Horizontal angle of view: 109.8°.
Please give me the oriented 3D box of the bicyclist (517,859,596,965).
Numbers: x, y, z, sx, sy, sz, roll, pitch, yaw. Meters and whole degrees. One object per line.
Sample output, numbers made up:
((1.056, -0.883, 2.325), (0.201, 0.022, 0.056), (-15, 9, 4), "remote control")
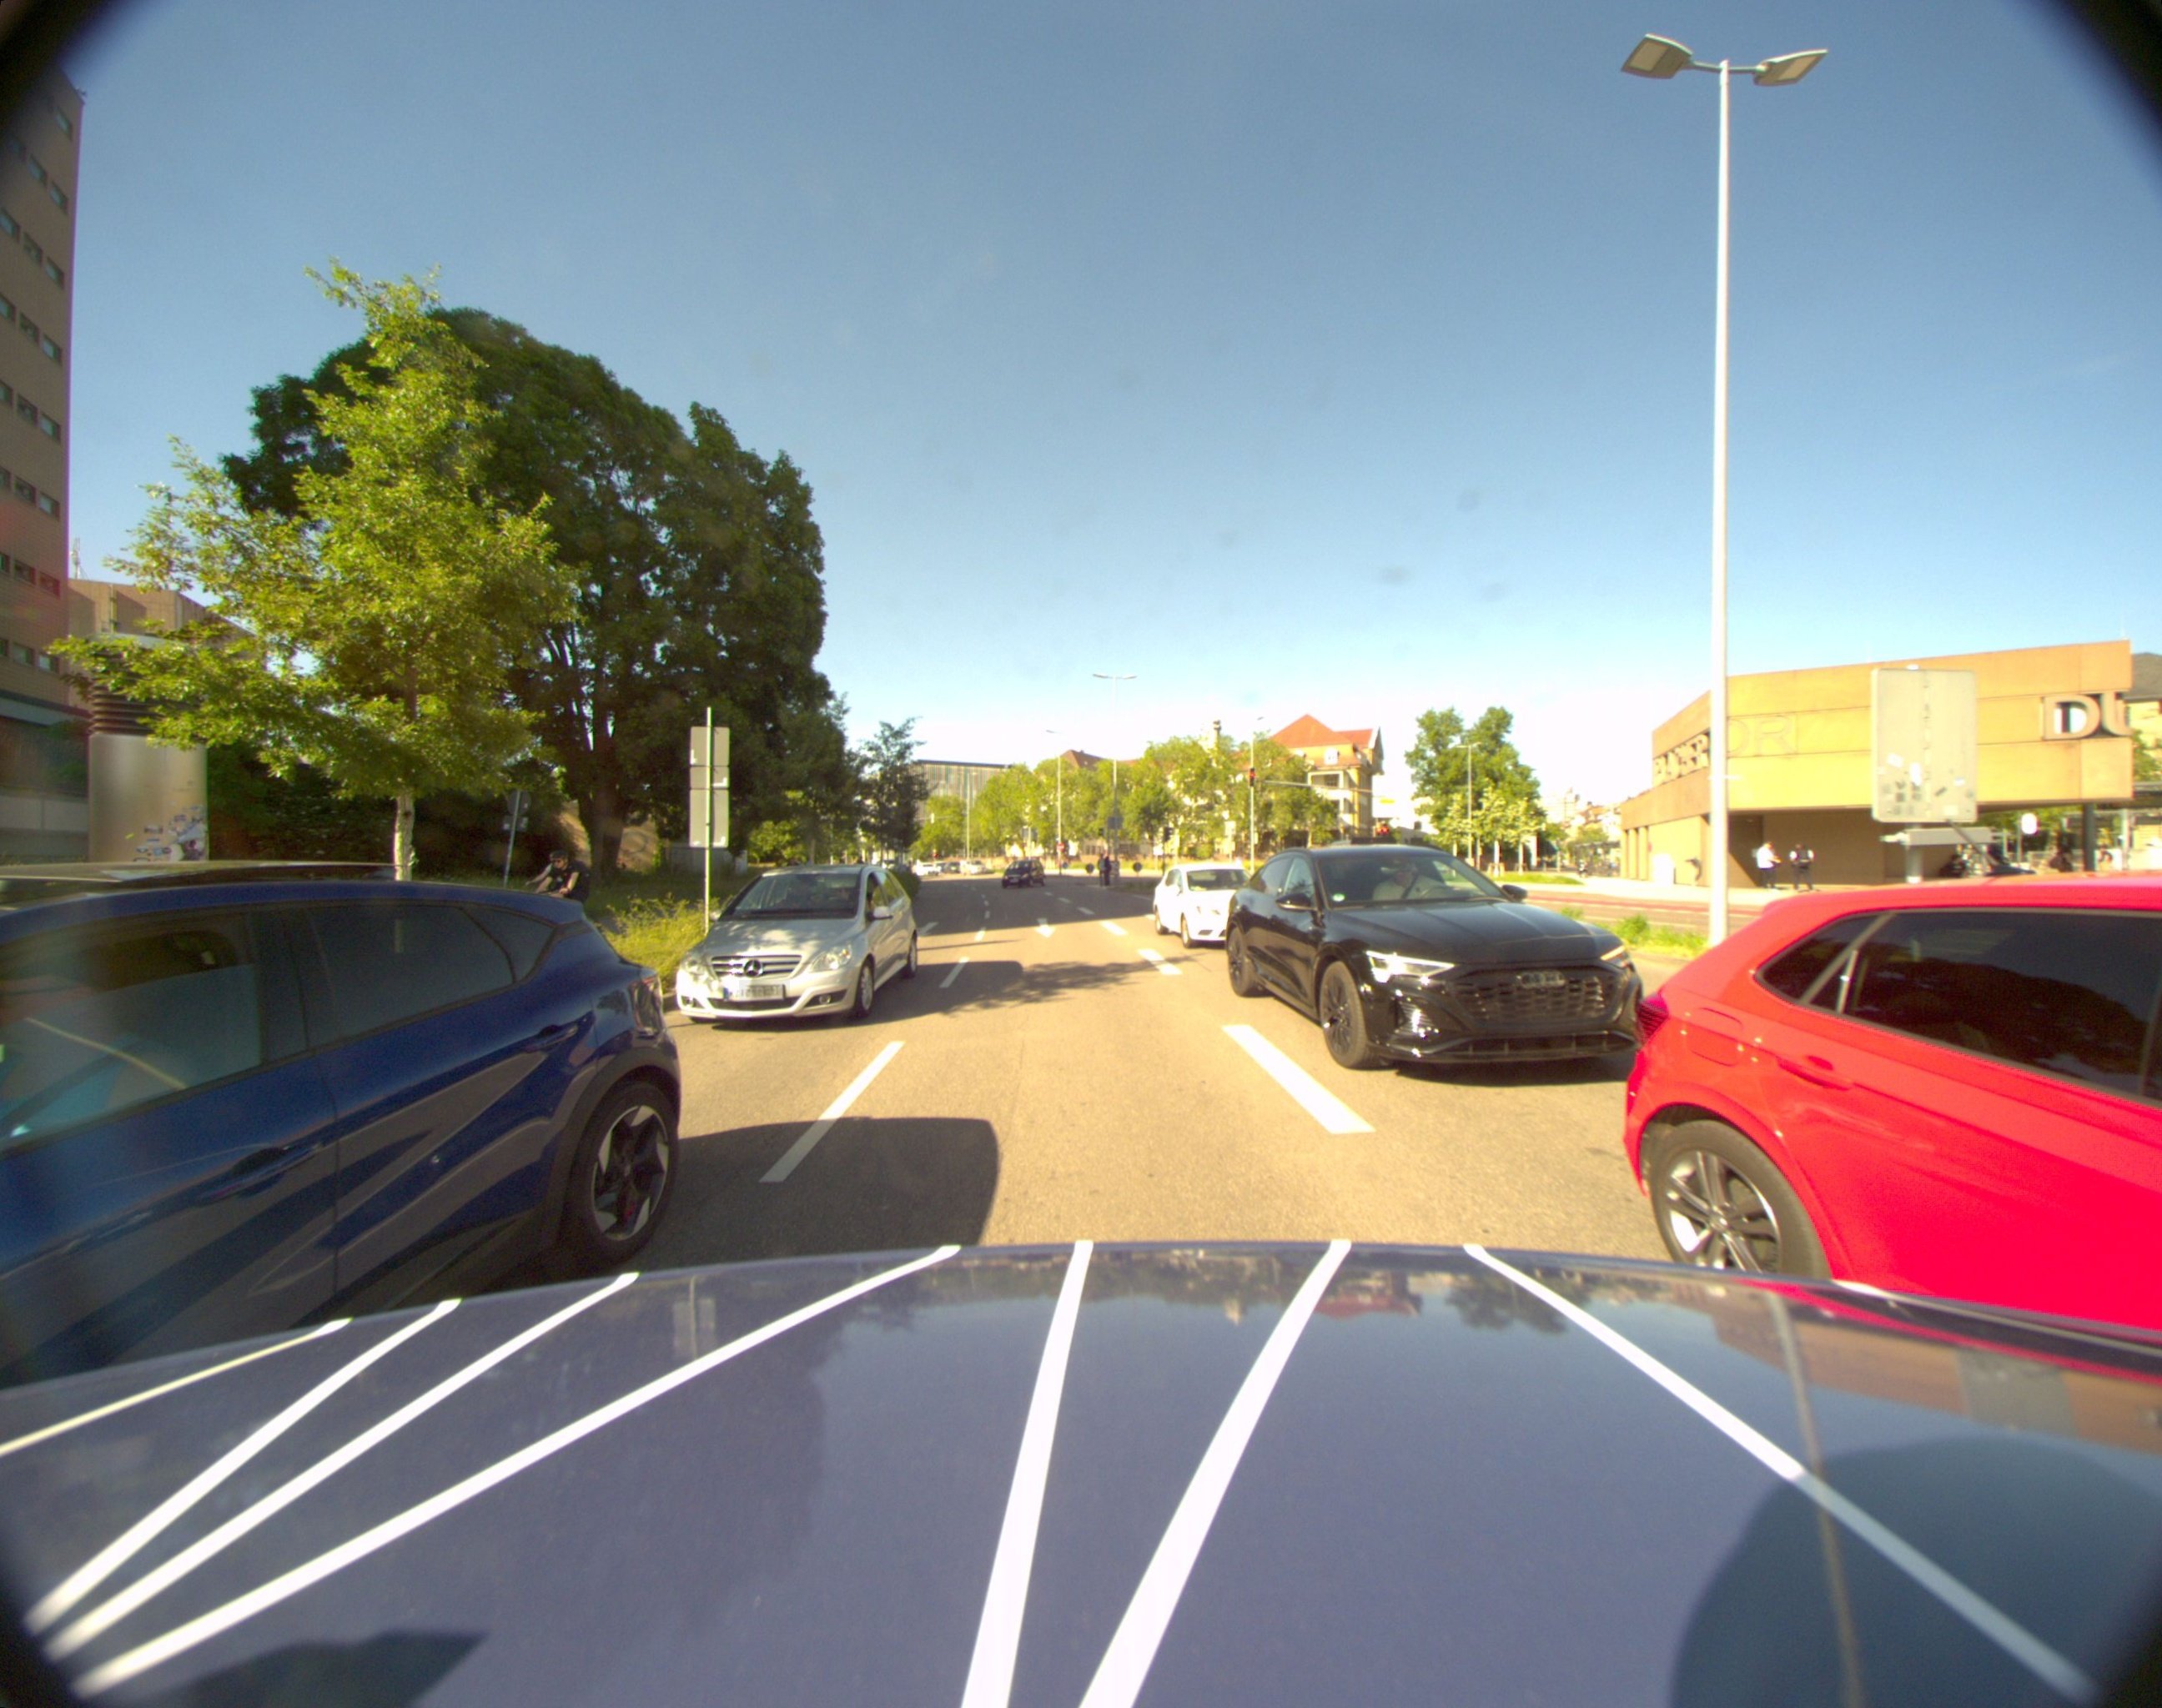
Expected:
((-8.413, 0.904, 12.238), (0.627, 1.628, 0.994), (0, 0, -6), "bicyclist")

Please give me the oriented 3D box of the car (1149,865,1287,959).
((2.374, 0.956, 14.073), (1.575, 1.410, 3.711), (-2, 0, -5), "car")

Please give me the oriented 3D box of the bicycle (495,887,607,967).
((-8.404, 1.122, 12.149), (0.627, 1.107, 1.850), (0, 0, -6), "bicycle")

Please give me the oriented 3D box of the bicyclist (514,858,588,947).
((-9.751, 0.867, 14.008), (0.687, 1.589, 0.977), (0, 0, -2), "bicyclist")

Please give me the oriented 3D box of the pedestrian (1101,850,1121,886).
((1.584, 0.715, 39.704), (0.757, 1.814, 0.775), (-2, 1, -17), "pedestrian")

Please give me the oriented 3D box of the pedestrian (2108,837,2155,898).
((30.928, 0.391, 22.374), (0.644, 1.766, 0.469), (-1, 0, 21), "pedestrian")

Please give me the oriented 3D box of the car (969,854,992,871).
((-10.682, 0.921, 80.795), (1.527, 1.669, 3.374), (-2, 0, -24), "car")

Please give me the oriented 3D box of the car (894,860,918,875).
((-17.785, 1.346, 77.130), (1.754, 1.467, 3.568), (-2, 1, -22), "car")

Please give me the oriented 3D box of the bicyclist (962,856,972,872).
((-11.460, 0.998, 76.258), (0.696, 1.549, 0.814), (-2, 1, -23), "bicyclist")

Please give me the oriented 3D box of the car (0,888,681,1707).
((-2.702, 0.963, 1.413), (1.705, 1.596, 4.084), (-1, 0, 0), "car")

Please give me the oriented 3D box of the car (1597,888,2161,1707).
((2.759, 0.883, 0.891), (1.674, 1.464, 3.853), (-2, 0, 0), "car")

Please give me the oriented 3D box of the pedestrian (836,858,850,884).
((-14.444, 1.021, 46.164), (0.694, 1.594, 0.660), (-1, 0, -27), "pedestrian")

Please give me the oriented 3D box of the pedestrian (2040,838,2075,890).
((33.329, 0.335, 25.936), (0.645, 1.766, 0.468), (-1, 0, -4), "pedestrian")

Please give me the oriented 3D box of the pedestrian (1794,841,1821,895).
((24.418, 0.463, 25.551), (0.644, 1.766, 0.618), (0, 1, 43), "pedestrian")

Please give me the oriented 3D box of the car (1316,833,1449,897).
((11.898, 0.414, 30.615), (2.117, 2.300, 6.209), (-1, 0, -9), "car")

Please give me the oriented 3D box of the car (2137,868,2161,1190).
((5.805, 0.780, 1.174), (1.713, 1.464, 4.751), (-1, 0, -1), "car")

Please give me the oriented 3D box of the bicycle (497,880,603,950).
((-9.762, 1.092, 14.064), (0.687, 1.157, 1.883), (0, 0, -2), "bicycle")

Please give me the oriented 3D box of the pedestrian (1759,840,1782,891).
((24.206, 0.403, 26.672), (0.467, 1.766, 0.647), (-1, 0, 29), "pedestrian")

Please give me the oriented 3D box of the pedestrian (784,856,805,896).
((-10.262, 0.789, 27.255), (0.518, 1.394, 0.960), (1, 1, -9), "pedestrian")

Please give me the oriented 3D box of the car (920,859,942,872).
((-15.975, 1.214, 80.646), (1.754, 1.370, 3.568), (-1, 0, -20), "car")

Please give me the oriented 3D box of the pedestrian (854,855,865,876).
((-21.483, 1.113, 73.682), (0.823, 1.906, 0.770), (-3, 1, -29), "pedestrian")

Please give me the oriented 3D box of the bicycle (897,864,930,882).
((-11.673, 1.344, 52.957), (2.128, 1.168, 0.764), (-2, 1, -28), "bicycle")

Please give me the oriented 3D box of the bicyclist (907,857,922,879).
((-11.612, 0.978, 52.991), (0.848, 1.465, 0.764), (-1, 0, -28), "bicyclist")

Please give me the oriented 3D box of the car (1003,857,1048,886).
((-3.167, 0.995, 43.967), (1.649, 1.601, 3.493), (0, 0, 12), "car")

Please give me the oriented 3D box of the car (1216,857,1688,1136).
((2.604, 0.846, 6.714), (1.858, 1.606, 4.452), (-1, 0, -2), "car")

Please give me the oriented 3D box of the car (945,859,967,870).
((-14.698, 1.187, 89.156), (1.587, 1.197, 3.992), (-2, 1, -23), "car")

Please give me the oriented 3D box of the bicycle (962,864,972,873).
((-11.498, 1.475, 76.334), (0.591, 0.884, 1.652), (-2, 0, -23), "bicycle")

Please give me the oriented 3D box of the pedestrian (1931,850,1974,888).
((30.281, 0.515, 26.413), (0.645, 1.303, 0.763), (-1, 0, 10), "pedestrian")

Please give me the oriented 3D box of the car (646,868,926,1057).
((-3.082, 1.018, 8.913), (1.786, 1.615, 4.042), (-1, 0, -2), "car")

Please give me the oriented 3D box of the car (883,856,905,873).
((-20.509, 1.110, 83.302), (1.830, 1.842, 3.745), (0, 0, -21), "car")

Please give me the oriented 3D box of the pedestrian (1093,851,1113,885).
((1.167, 0.742, 40.925), (0.887, 1.814, 0.776), (-2, 1, -7), "pedestrian")

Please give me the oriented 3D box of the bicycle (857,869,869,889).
((-13.845, 1.590, 48.221), (0.693, 1.211, 1.832), (1, 0, -16), "bicycle")

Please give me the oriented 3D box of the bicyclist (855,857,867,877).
((-13.912, 0.816, 48.069), (0.723, 1.271, 0.906), (1, 0, -16), "bicyclist")

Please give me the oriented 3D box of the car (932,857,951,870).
((-17.538, 1.142, 95.275), (1.598, 1.595, 3.066), (-1, 0, -25), "car")

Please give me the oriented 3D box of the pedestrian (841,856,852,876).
((-22.612, 1.158, 73.281), (0.823, 1.906, 0.770), (-3, 1, -29), "pedestrian")

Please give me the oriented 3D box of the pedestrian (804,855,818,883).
((-15.762, 0.873, 44.360), (0.694, 1.594, 0.660), (-1, 0, -27), "pedestrian")

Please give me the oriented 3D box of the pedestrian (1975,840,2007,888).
((33.444, 0.364, 27.926), (0.645, 1.766, 0.468), (-1, 0, -4), "pedestrian")

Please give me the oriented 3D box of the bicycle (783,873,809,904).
((-10.264, 1.218, 27.377), (0.518, 1.038, 1.766), (1, 0, -9), "bicycle")
